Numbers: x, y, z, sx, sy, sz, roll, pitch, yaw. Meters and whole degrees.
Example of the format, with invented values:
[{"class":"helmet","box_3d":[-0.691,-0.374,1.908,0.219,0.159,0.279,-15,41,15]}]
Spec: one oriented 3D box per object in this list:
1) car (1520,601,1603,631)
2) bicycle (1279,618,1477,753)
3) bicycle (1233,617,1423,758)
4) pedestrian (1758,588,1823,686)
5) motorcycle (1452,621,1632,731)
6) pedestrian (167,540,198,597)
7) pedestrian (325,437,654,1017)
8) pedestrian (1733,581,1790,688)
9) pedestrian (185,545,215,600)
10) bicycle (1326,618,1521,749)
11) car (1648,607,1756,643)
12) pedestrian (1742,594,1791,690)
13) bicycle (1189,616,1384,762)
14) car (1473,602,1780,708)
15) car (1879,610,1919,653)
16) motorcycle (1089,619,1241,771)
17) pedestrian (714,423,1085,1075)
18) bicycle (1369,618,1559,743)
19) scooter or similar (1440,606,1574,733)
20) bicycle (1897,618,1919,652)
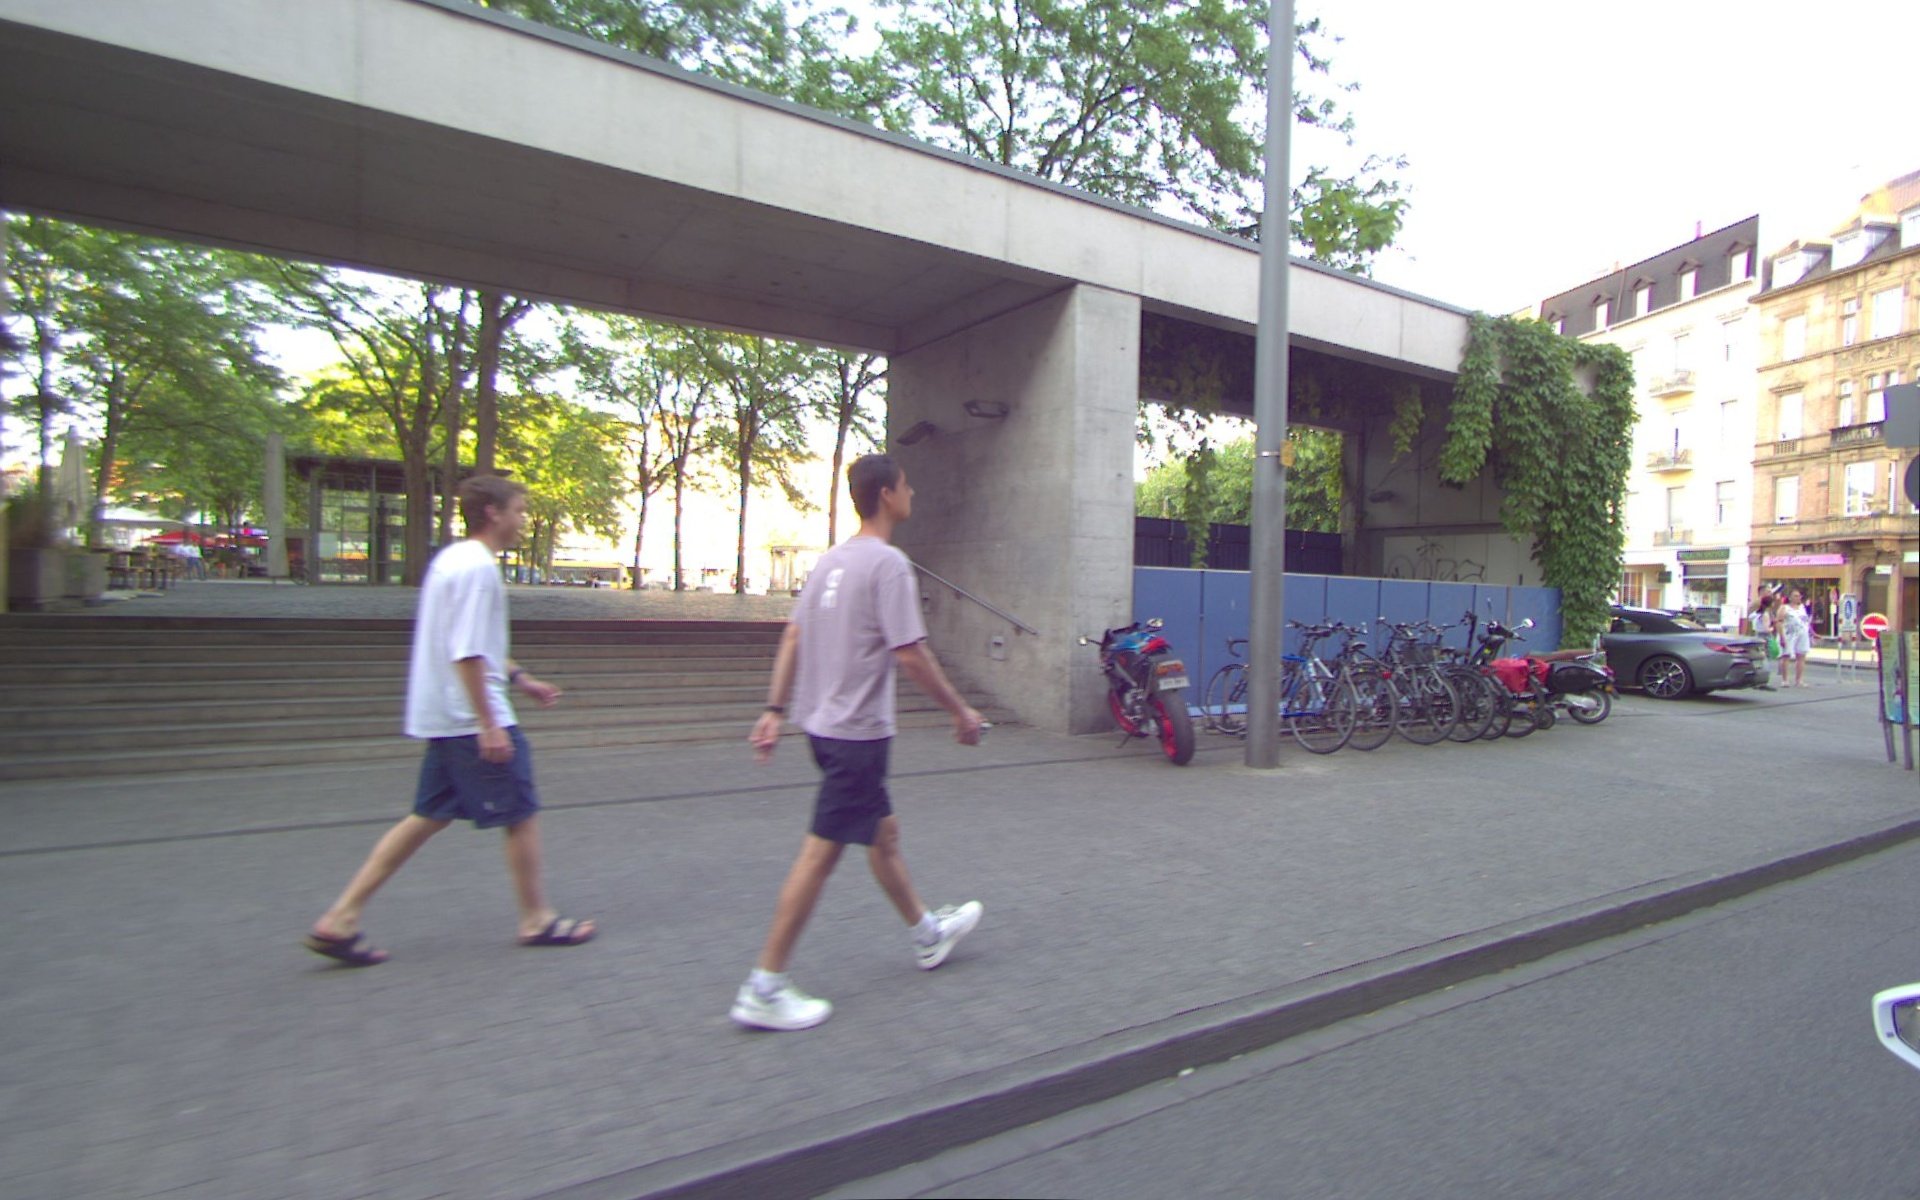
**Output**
[{"class":"car","box_3d":[33.000,0.867,55.244,1.767,1.530,3.994,2,0,-9]},{"class":"bicycle","box_3d":[4.091,0.791,9.979,0.495,1.122,1.781,1,2,-36]},{"class":"bicycle","box_3d":[3.454,0.775,9.602,0.494,1.122,1.786,1,2,-29]},{"class":"pedestrian","box_3d":[15.351,0.666,18.588,0.644,1.769,0.674,1,0,8]},{"class":"motorcycle","box_3d":[6.767,0.858,11.778,1.718,1.116,0.566,3,2,25]},{"class":"pedestrian","box_3d":[-32.646,-1.317,42.193,0.726,2.362,0.815,1,0,-9]},{"class":"pedestrian","box_3d":[-1.759,0.397,3.741,0.998,1.837,0.737,1,3,-32]},{"class":"pedestrian","box_3d":[14.643,0.624,18.360,0.625,1.907,0.581,1,0,-26]},{"class":"pedestrian","box_3d":[-32.620,-1.168,43.132,0.726,2.362,0.815,1,0,-9]},{"class":"bicycle","box_3d":[4.700,0.805,10.316,0.495,1.122,1.783,1,2,-34]},{"class":"car","box_3d":[34.675,1.122,47.082,1.767,1.530,3.994,2,0,-9]},{"class":"pedestrian","box_3d":[14.253,0.727,17.751,0.514,1.665,0.498,0,0,-29]},{"class":"bicycle","box_3d":[2.958,0.763,9.286,0.494,1.122,1.784,1,2,-32]},{"class":"car","box_3d":[11.122,0.819,16.973,1.875,1.521,3.955,1,0,-39]},{"class":"car","box_3d":[36.020,1.180,36.222,1.767,1.530,3.994,2,0,-9]},{"class":"motorcycle","box_3d":[1.699,0.754,8.633,0.750,1.078,1.804,2,2,-6]},{"class":"pedestrian","box_3d":[-0.226,0.437,3.526,1.038,1.919,0.740,1,2,-31]},{"class":"bicycle","box_3d":[5.329,0.809,10.744,0.494,1.122,1.785,1,2,-31]},{"class":"scooter or similar","box_3d":[6.082,0.737,11.197,1.191,1.291,0.419,4,3,43]},{"class":"bicycle","box_3d":[32.815,1.224,33.820,0.529,1.122,1.792,1,1,-18]}]
